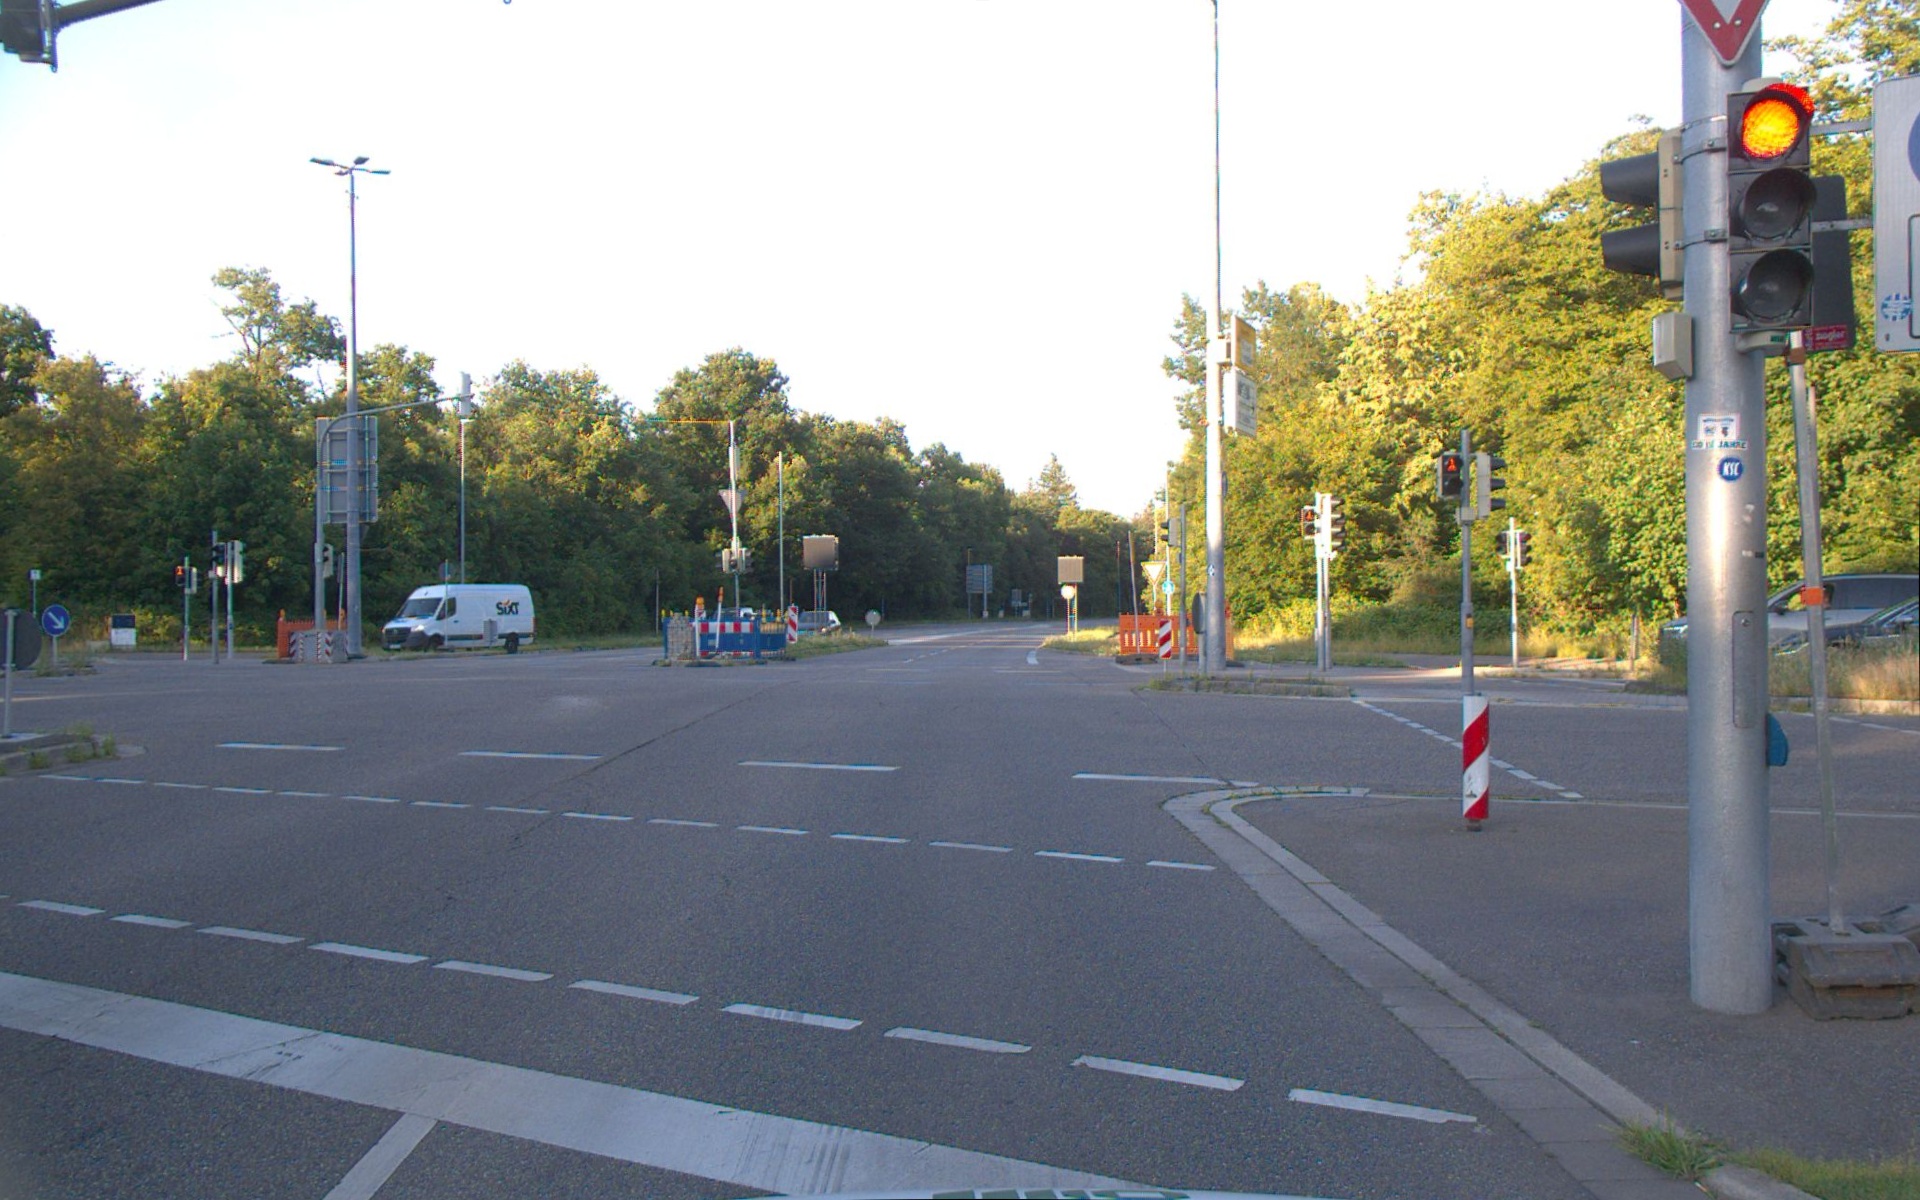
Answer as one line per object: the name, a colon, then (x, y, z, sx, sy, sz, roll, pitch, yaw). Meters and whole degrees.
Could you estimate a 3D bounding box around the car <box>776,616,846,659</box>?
car: (-6.589, 1.648, 73.538, 1.951, 1.668, 4.004, -2, 1, 11)

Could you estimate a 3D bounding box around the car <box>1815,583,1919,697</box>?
car: (13.828, 0.520, 22.432, 3.783, 1.515, 1.771, 0, 0, 22)

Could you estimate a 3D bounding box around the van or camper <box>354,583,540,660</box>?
van or camper: (-18.949, 0.755, 61.562, 2.826, 2.699, 7.122, 0, 0, 21)

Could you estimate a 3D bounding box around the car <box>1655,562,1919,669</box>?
car: (13.743, 0.242, 26.499, 4.716, 1.626, 2.000, -1, 0, 21)
